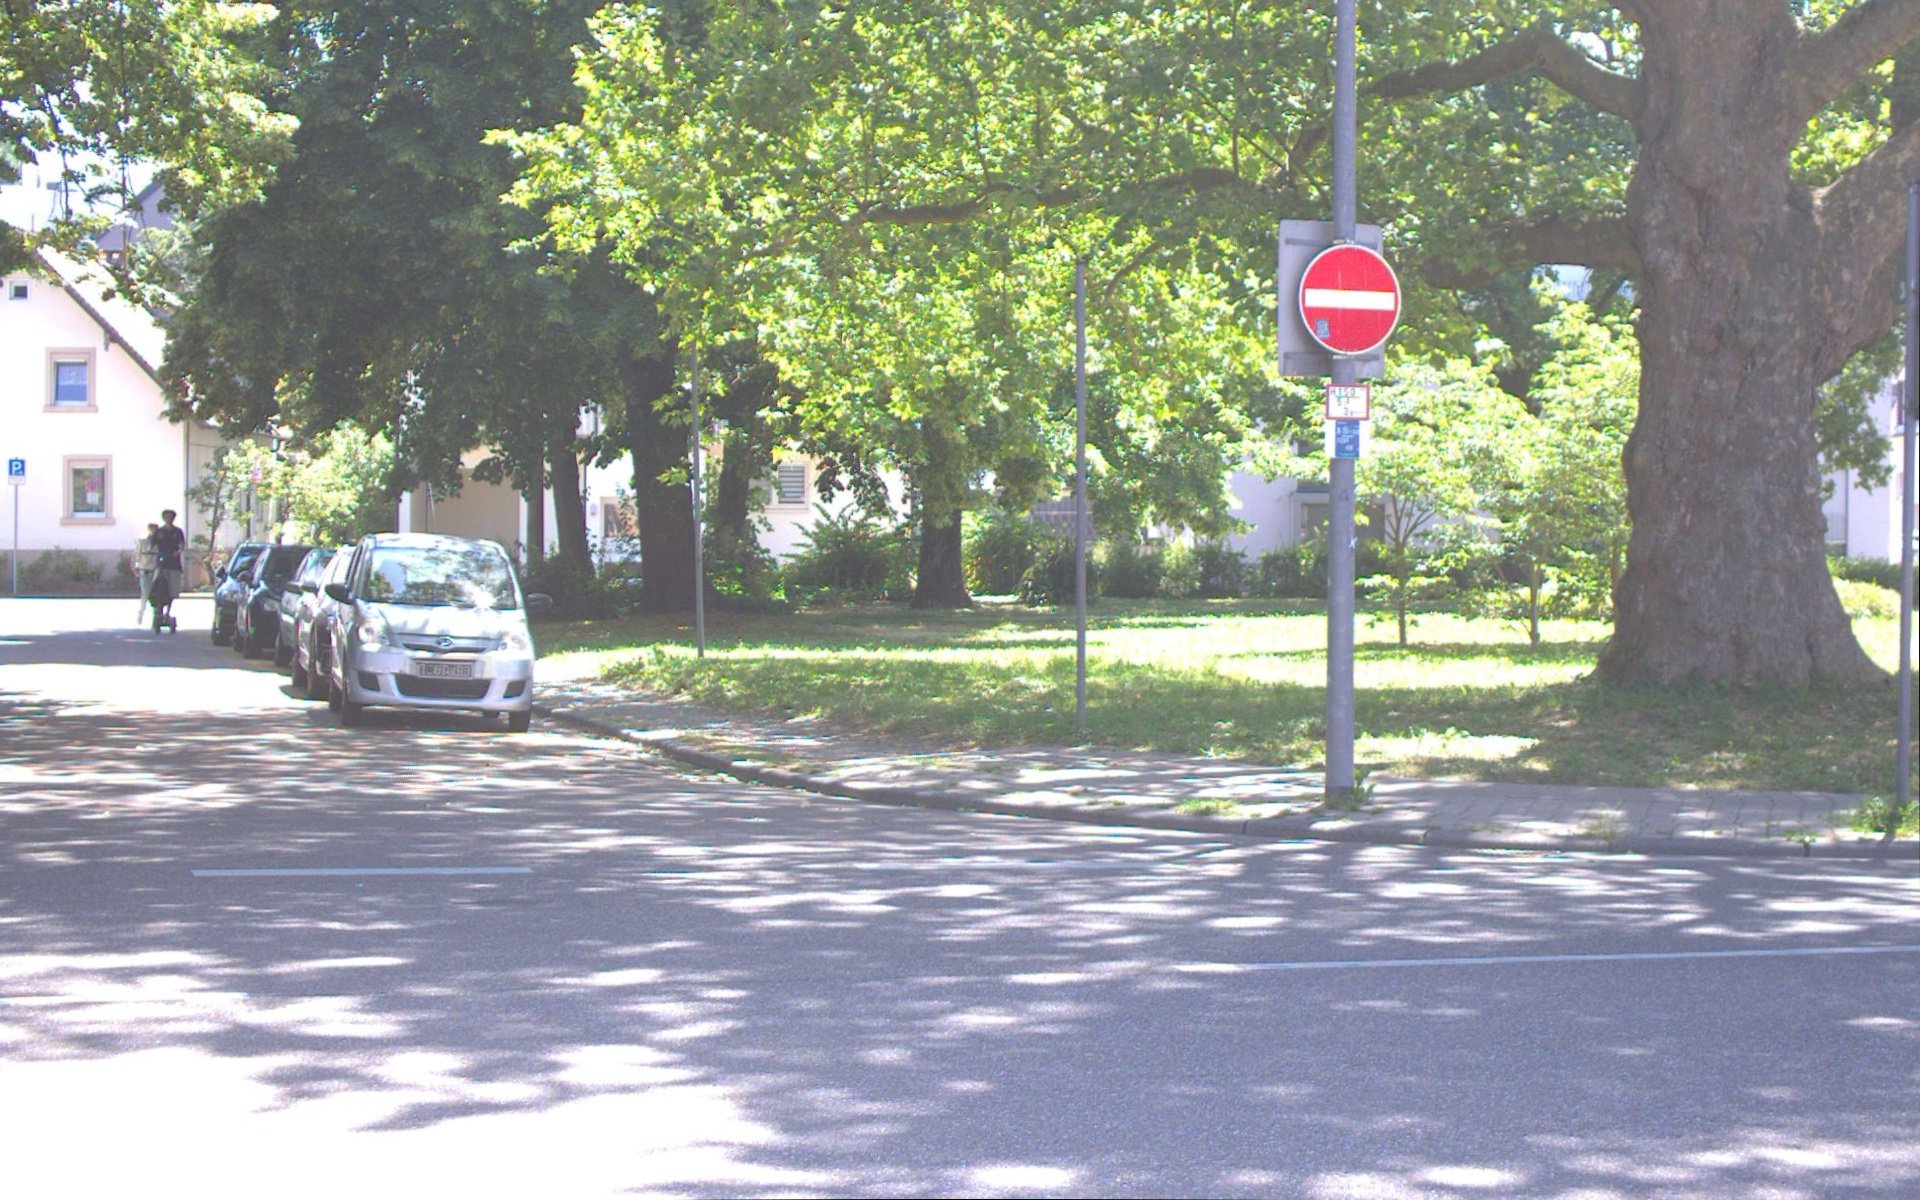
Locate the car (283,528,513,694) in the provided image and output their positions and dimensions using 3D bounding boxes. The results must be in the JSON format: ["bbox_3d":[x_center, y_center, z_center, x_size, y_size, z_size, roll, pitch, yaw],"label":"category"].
[{"bbox_3d":[-5.494,0.061,33.220,1.750,1.434,4.505,1,1,-15],"label":"car"}]

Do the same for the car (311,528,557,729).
[{"bbox_3d":[-4.329,0.188,27.951,1.594,1.492,3.487,1,1,-15],"label":"car"}]

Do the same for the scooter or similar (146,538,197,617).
[{"bbox_3d":[-12.158,-0.351,53.007,0.738,1.179,1.519,0,2,-13],"label":"scooter or similar"}]

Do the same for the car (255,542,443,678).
[{"bbox_3d":[-7.113,0.067,39.701,1.750,1.434,4.771,0,1,-15],"label":"car"}]

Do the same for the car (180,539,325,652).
[{"bbox_3d":[-9.972,-0.091,48.292,1.754,1.488,3.919,0,1,-15],"label":"car"}]

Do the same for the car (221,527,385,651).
[{"bbox_3d":[-8.498,-0.178,44.250,1.754,1.488,4.377,0,1,-15],"label":"car"}]

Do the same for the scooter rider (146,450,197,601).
[{"bbox_3d":[-12.157,-1.149,52.999,0.738,2.310,0.927,0,1,-13],"label":"scooter rider"}]

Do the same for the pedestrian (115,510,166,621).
[{"bbox_3d":[-13.319,-0.566,55.898,0.719,1.796,0.941,0,1,-9],"label":"pedestrian"}]
